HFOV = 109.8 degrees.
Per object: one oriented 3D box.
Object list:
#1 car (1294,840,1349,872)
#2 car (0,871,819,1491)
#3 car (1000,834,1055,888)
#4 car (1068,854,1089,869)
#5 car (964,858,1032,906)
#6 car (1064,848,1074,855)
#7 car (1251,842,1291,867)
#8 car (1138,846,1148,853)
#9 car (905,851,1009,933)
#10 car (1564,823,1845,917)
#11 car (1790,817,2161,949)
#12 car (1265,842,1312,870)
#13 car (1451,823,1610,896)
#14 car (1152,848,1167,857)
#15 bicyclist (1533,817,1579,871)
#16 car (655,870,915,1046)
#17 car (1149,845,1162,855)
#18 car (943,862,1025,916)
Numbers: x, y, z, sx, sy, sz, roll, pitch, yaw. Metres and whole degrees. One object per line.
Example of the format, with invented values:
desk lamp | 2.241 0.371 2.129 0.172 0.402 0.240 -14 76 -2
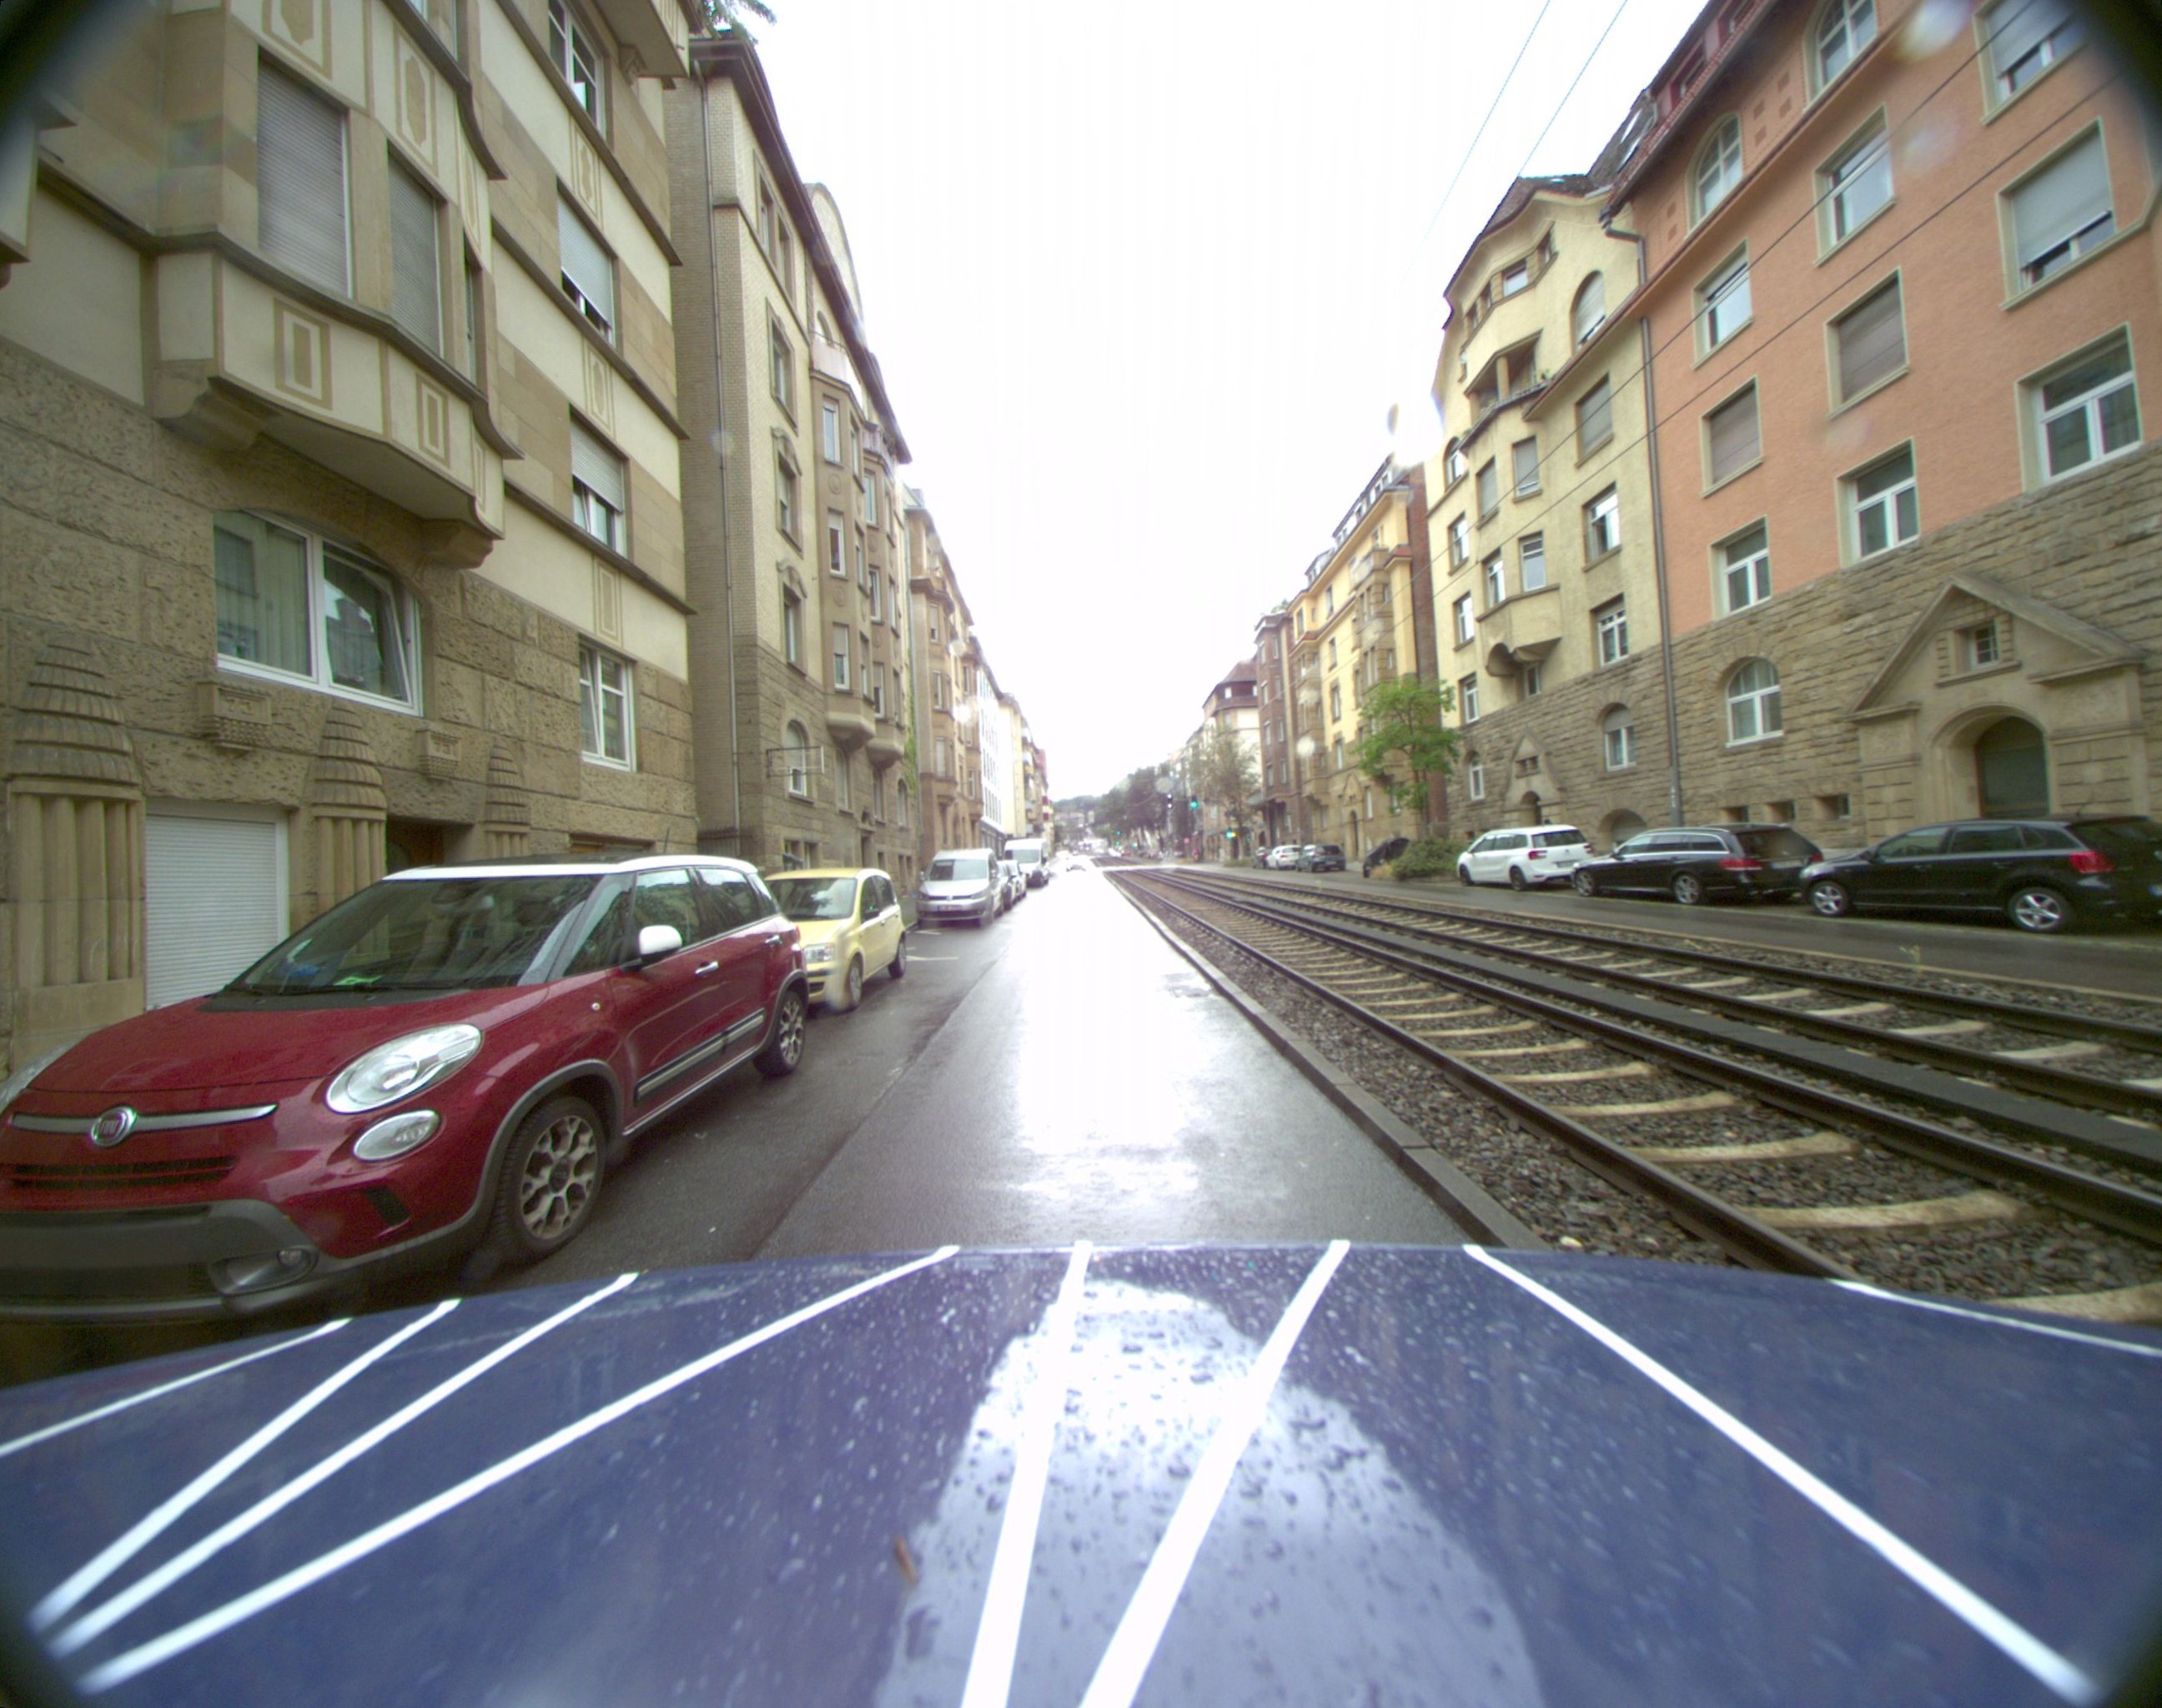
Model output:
car | 12.490 0.069 39.691 1.717 1.473 3.712 -5 1 2
car | -2.992 0.964 4.096 1.774 1.592 3.999 -1 0 -1
car | -2.713 0.309 39.929 1.991 2.520 6.155 -3 0 3
car | -0.163 0.617 66.911 1.737 1.262 4.258 0 0 1
car | -2.999 0.960 28.199 1.935 1.516 4.058 -3 0 1
car | -2.415 -0.508 155.611 1.794 1.459 4.257 -2 1 1
car | 12.563 0.024 50.469 1.759 1.419 3.712 -5 1 2
car | 12.795 -1.019 157.544 1.794 1.339 4.257 -2 1 0
car | -2.952 0.832 18.949 1.811 1.758 3.962 -2 0 1
car | 12.201 0.248 15.370 1.760 1.482 4.597 -4 1 -1
car | 12.442 0.298 10.464 1.760 1.396 3.694 -5 1 -2
car | 12.434 0.066 45.754 1.759 1.443 4.043 -5 1 2
car | 12.225 0.107 21.033 1.759 1.663 4.259 -5 1 0
car | 11.936 -0.235 115.520 1.794 1.339 4.257 -2 1 0
bicyclist | 14.505 -0.301 23.203 0.894 1.592 0.774 -2 1 1
car | -3.193 1.027 8.980 1.632 1.502 3.531 -3 0 -1
car | 12.427 -0.625 127.106 1.794 1.609 4.257 -2 1 0
car | -2.923 1.014 23.766 1.931 1.380 3.982 -3 0 1
